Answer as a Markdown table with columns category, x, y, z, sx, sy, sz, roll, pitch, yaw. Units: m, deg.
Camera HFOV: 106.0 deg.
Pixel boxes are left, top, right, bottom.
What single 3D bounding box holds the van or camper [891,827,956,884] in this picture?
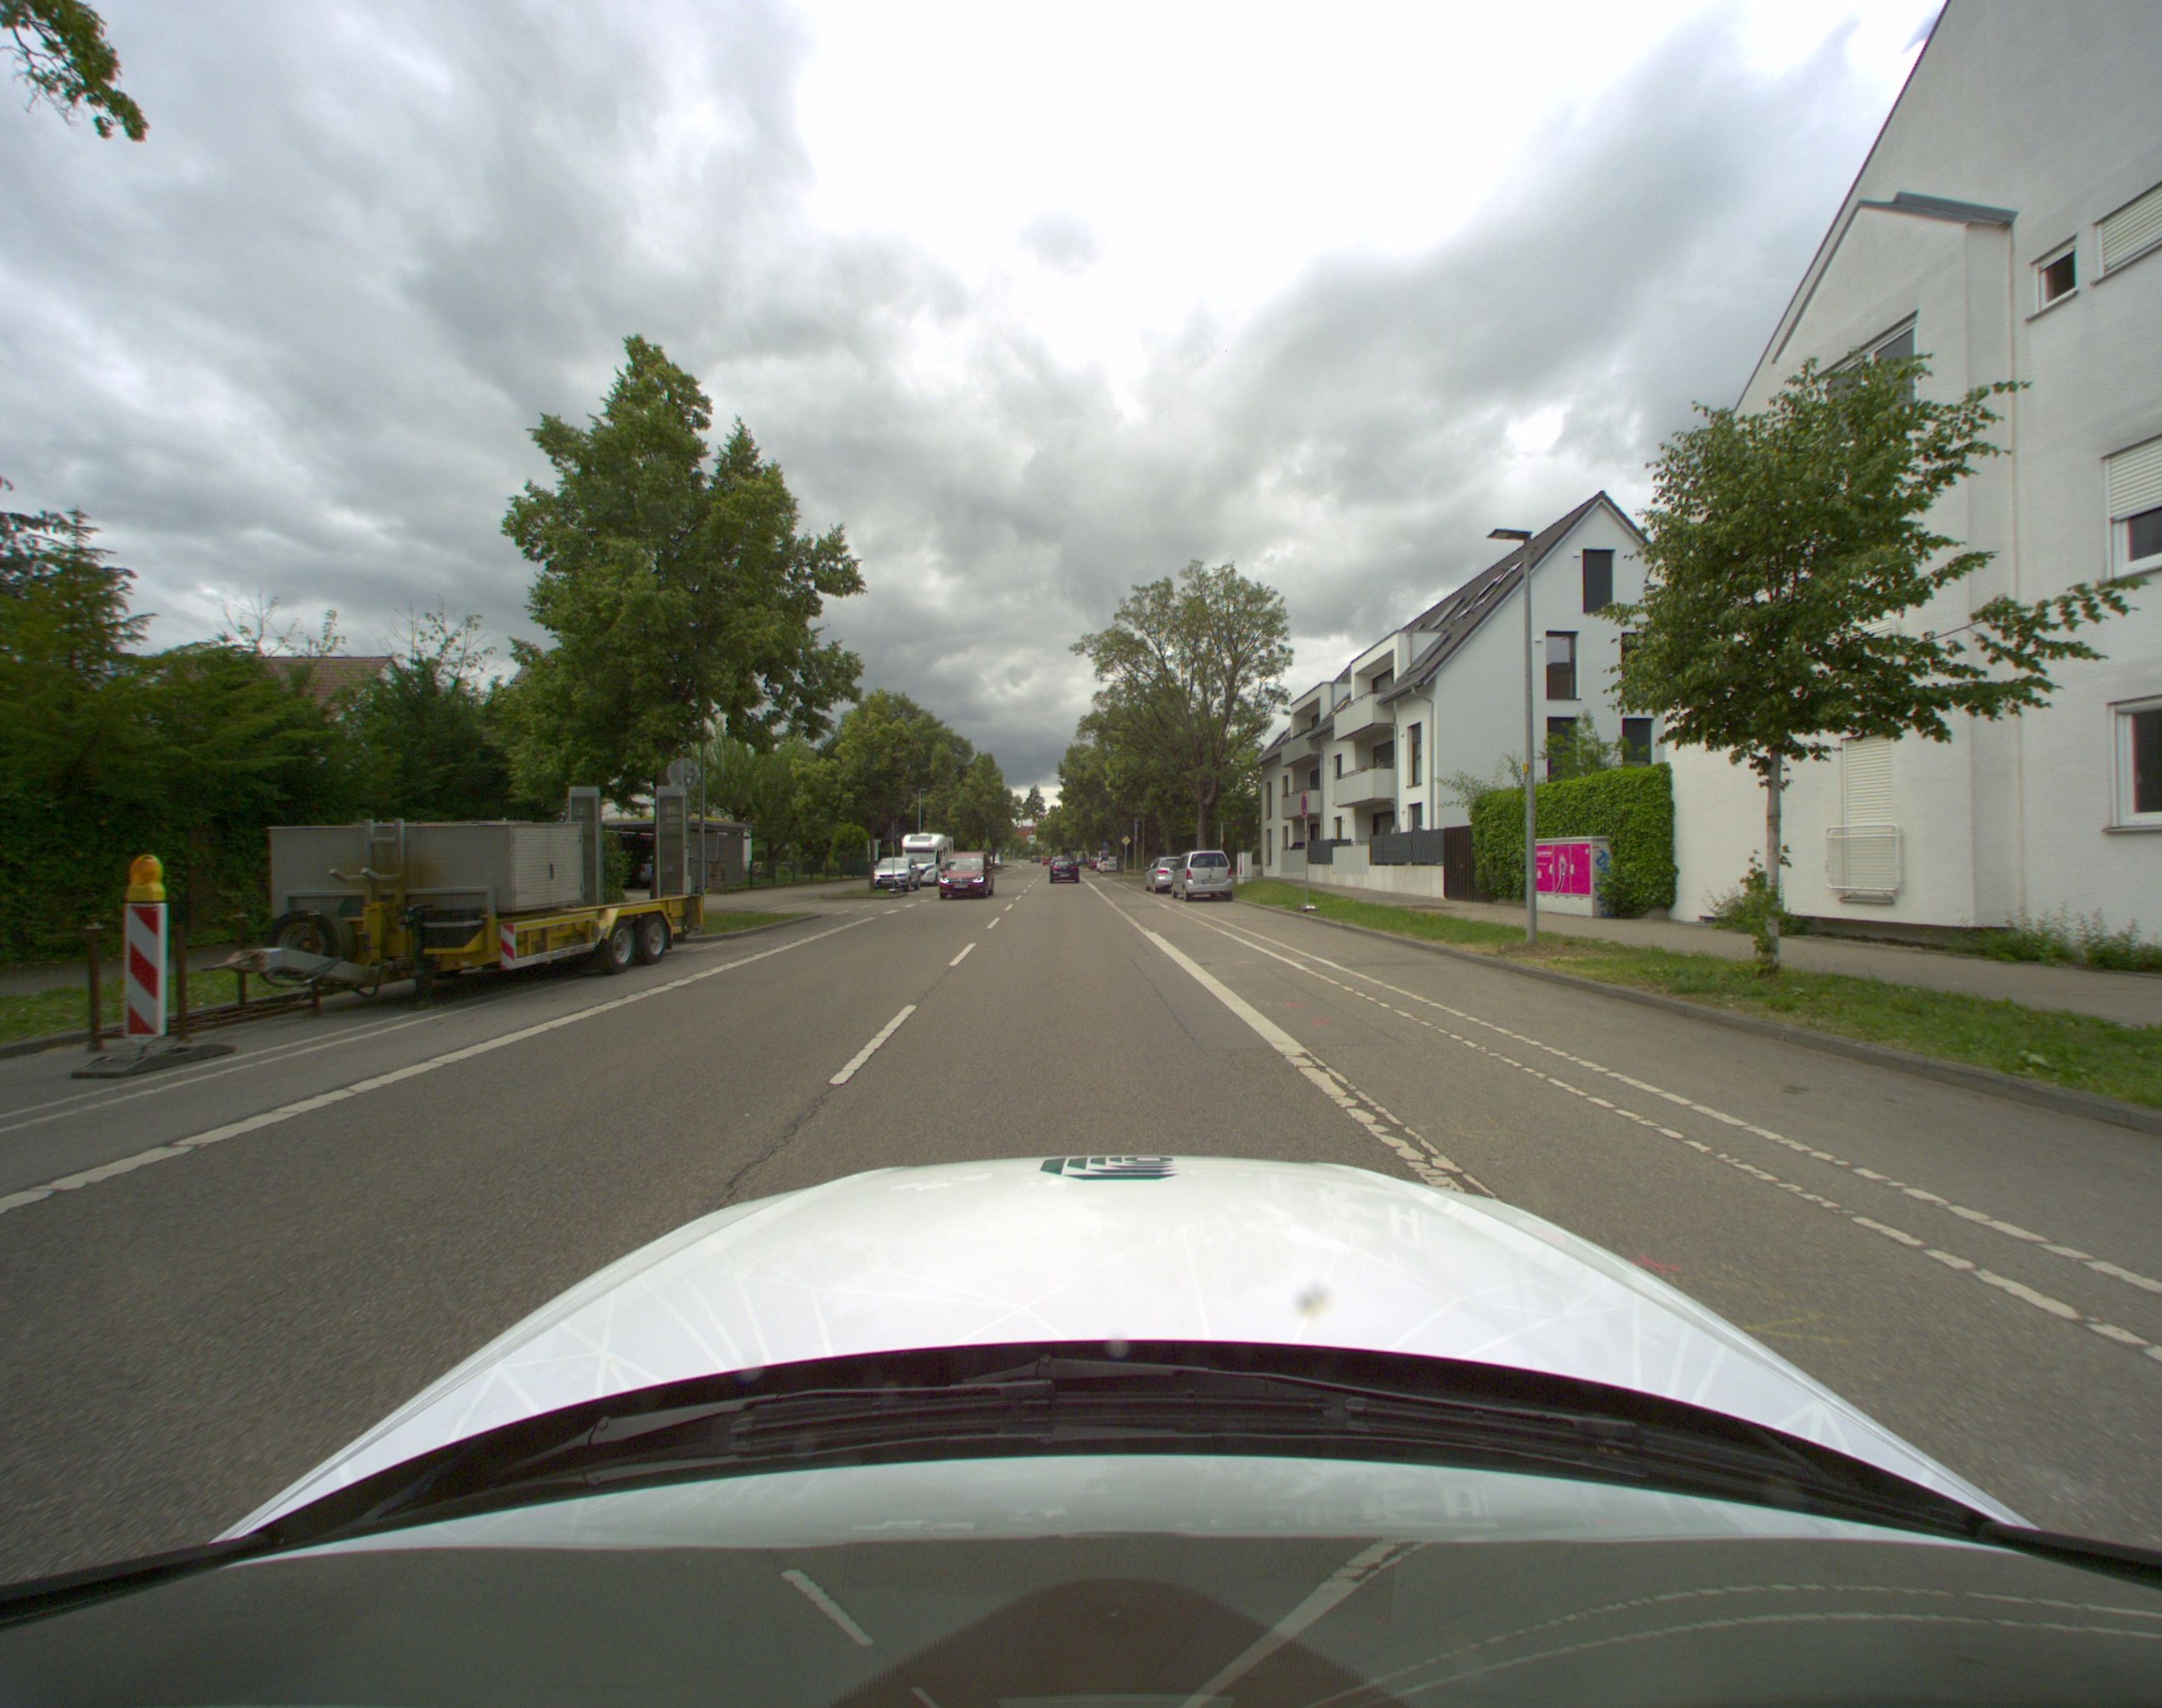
| category | x | y | z | sx | sy | sz | roll | pitch | yaw |
| --- | --- | --- | --- | --- | --- | --- | --- | --- | --- |
| van or camper | -8.993 | 0.086 | 47.283 | 2.428 | 3.009 | 7.688 | -1 | 0 | -1 |

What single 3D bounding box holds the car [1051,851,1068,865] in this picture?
| category | x | y | z | sx | sy | sz | roll | pitch | yaw |
| --- | --- | --- | --- | --- | --- | --- | --- | --- | --- |
| car | -2.586 | 0.431 | 97.333 | 1.989 | 1.557 | 3.997 | -1 | 1 | -2 |

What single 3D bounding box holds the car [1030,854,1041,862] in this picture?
| category | x | y | z | sx | sy | sz | roll | pitch | yaw |
| --- | --- | --- | --- | --- | --- | --- | --- | --- | --- |
| car | -9.349 | 0.797 | 167.265 | 1.991 | 1.508 | 3.990 | 0 | -1 | -7 |

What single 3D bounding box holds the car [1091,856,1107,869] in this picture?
| category | x | y | z | sx | sy | sz | roll | pitch | yaw |
| --- | --- | --- | --- | --- | --- | --- | --- | --- | --- |
| car | 2.001 | 0.914 | 91.922 | 1.633 | 1.420 | 3.999 | -1 | 0 | 0 |

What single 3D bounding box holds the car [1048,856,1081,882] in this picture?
| category | x | y | z | sx | sy | sz | roll | pitch | yaw |
| --- | --- | --- | --- | --- | --- | --- | --- | --- | --- |
| car | -1.027 | 0.871 | 48.102 | 1.780 | 1.449 | 3.552 | -1 | 0 | -4 |

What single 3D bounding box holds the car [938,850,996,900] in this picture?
| category | x | y | z | sx | sy | sz | roll | pitch | yaw |
| --- | --- | --- | --- | --- | --- | --- | --- | --- | --- |
| car | -4.434 | 0.767 | 32.301 | 1.755 | 1.803 | 4.765 | -1 | 0 | -2 |

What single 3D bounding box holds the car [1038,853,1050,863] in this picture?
| category | x | y | z | sx | sy | sz | roll | pitch | yaw |
| --- | --- | --- | --- | --- | --- | --- | --- | --- | --- |
| car | -6.075 | 0.660 | 133.450 | 1.989 | 1.530 | 3.995 | -1 | 0 | -4 |

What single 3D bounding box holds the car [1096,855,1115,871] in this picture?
| category | x | y | z | sx | sy | sz | roll | pitch | yaw |
| --- | --- | --- | --- | --- | --- | --- | --- | --- | --- |
| car | 2.383 | 0.855 | 80.041 | 1.611 | 1.460 | 3.654 | -1 | 0 | -2 |

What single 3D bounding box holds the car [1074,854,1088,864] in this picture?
| category | x | y | z | sx | sy | sz | roll | pitch | yaw |
| --- | --- | --- | --- | --- | --- | --- | --- | --- | --- |
| car | 0.022 | 0.770 | 126.851 | 1.681 | 1.432 | 4.034 | -1 | 0 | -7 |

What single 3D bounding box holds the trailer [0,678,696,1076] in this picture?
| category | x | y | z | sx | sy | sz | roll | pitch | yaw |
| --- | --- | --- | --- | --- | --- | --- | --- | --- | --- |
| trailer | -7.620 | 0.219 | 9.773 | 2.667 | 2.941 | 7.468 | 0 | -1 | -2 |

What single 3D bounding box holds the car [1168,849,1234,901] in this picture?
| category | x | y | z | sx | sy | sz | roll | pitch | yaw |
| --- | --- | --- | --- | --- | --- | --- | --- | --- | --- |
| car | 4.085 | 0.684 | 28.135 | 1.628 | 1.665 | 3.645 | -1 | 0 | -2 |

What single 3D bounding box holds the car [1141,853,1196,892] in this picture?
| category | x | y | z | sx | sy | sz | roll | pitch | yaw |
| --- | --- | --- | --- | --- | --- | --- | --- | --- | --- |
| car | 3.578 | 0.745 | 33.928 | 1.683 | 1.493 | 4.223 | -1 | 0 | -2 |

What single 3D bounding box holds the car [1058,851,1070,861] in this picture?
| category | x | y | z | sx | sy | sz | roll | pitch | yaw |
| --- | --- | --- | --- | --- | --- | --- | --- | --- | --- |
| car | -3.239 | 0.347 | 154.282 | 1.787 | 1.772 | 3.973 | -1 | 0 | -7 |

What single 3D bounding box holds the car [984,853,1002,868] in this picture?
| category | x | y | z | sx | sy | sz | roll | pitch | yaw |
| --- | --- | --- | --- | --- | --- | --- | --- | --- | --- |
| car | -10.793 | 0.784 | 100.158 | 1.869 | 1.688 | 4.862 | -1 | 0 | -2 |

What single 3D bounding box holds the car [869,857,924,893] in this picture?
| category | x | y | z | sx | sy | sz | roll | pitch | yaw |
| --- | --- | --- | --- | --- | --- | --- | --- | --- | --- |
| car | -8.662 | 0.938 | 38.556 | 1.717 | 1.600 | 4.270 | -1 | 0 | -1 |

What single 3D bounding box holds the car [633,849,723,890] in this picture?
| category | x | y | z | sx | sy | sz | roll | pitch | yaw |
| --- | --- | --- | --- | --- | --- | --- | --- | --- | --- |
| car | -16.351 | 0.609 | 33.246 | 1.701 | 1.530 | 3.998 | -1 | 0 | -1 |

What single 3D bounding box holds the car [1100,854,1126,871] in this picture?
| category | x | y | z | sx | sy | sz | roll | pitch | yaw |
| --- | --- | --- | --- | --- | --- | --- | --- | --- | --- |
| car | 2.749 | 0.744 | 71.621 | 2.015 | 1.443 | 5.022 | 0 | 0 | -1 |
